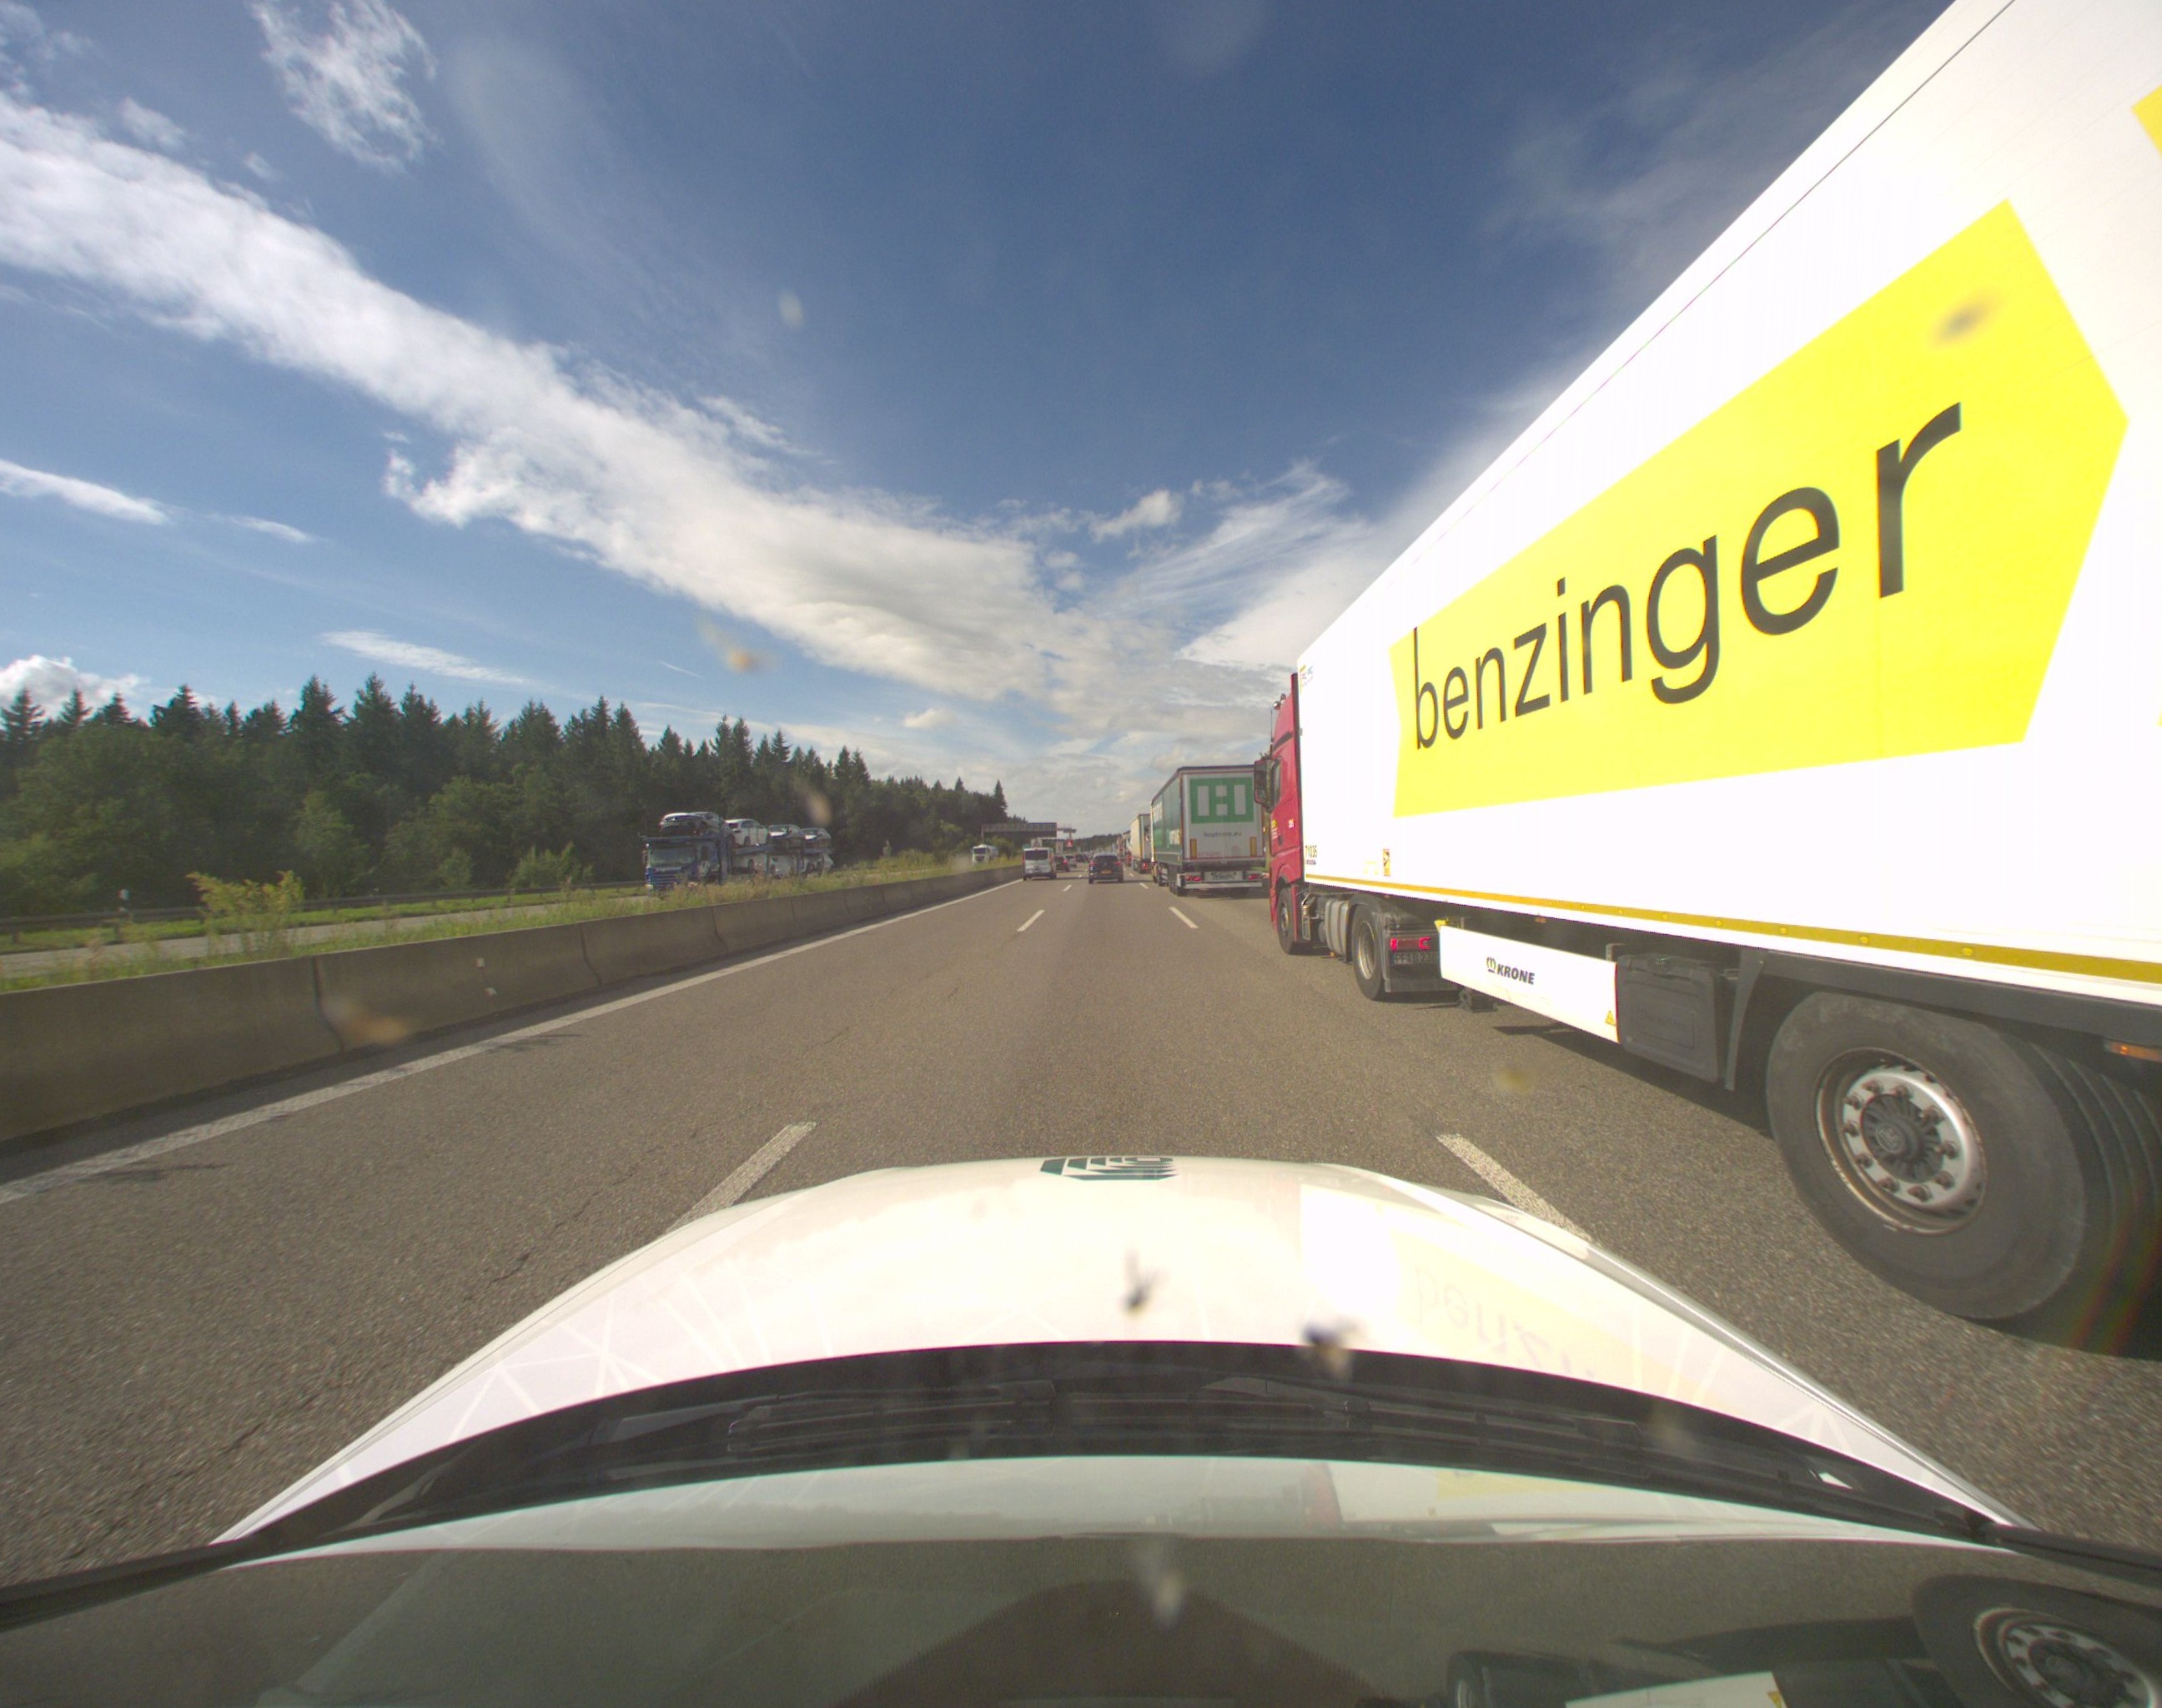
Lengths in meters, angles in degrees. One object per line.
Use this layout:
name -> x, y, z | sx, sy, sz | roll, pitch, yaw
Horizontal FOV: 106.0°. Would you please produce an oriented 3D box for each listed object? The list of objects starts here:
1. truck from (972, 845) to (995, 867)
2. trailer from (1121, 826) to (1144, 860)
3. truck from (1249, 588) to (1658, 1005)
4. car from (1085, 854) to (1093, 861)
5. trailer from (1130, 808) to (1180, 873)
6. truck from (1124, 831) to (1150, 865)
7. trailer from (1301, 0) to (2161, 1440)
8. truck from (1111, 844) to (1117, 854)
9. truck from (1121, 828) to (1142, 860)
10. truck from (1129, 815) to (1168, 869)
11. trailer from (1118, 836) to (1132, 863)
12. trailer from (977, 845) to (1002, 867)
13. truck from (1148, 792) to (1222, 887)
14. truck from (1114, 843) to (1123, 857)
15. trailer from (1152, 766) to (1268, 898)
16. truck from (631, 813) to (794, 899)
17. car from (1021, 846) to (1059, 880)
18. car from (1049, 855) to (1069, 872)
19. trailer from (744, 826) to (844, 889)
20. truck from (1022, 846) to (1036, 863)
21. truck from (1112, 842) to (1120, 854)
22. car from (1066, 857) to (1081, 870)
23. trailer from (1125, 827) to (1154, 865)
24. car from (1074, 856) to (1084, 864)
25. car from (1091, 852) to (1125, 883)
truck -> -15.178, 0.327, 127.058 | 2.308, 3.273, 6.110 | -2, 0, 3
trailer -> 6.940, -1.412, 110.499 | 2.791, 4.244, 11.063 | -2, 0, 2
truck -> 4.144, -0.537, 10.681 | 2.791, 3.939, 5.827 | -1, 0, 2
car -> 1.471, 0.690, 149.558 | 1.429, 1.310, 3.534 | 1, 0, 1
trailer -> 5.157, -0.878, 58.953 | 2.693, 4.081, 12.950 | -2, 0, 2
truck -> 6.214, -0.683, 91.287 | 2.524, 3.584, 6.732 | -2, 0, 2
trailer -> 3.914, -0.629, 3.469 | 2.781, 3.939, 13.075 | -1, 0, 2
truck -> 10.371, -1.546, 254.607 | 1.986, 3.052, 4.984 | 1, 0, 2
truck -> 7.144, -1.396, 115.575 | 2.775, 4.247, 6.464 | -2, 0, 3
truck -> 5.376, -0.888, 65.657 | 2.698, 4.059, 6.364 | -2, 0, 2
trailer -> 7.224, -0.700, 134.013 | 2.141, 4.259, 8.445 | -2, 0, 2
trailer -> -14.870, 0.323, 133.070 | 2.312, 3.284, 10.882 | -2, 0, 3
truck -> 4.622, -0.599, 37.509 | 2.637, 3.869, 6.999 | -2, 0, 2
truck -> 8.410, -0.921, 182.935 | 1.986, 2.932, 4.984 | 1, 0, 2
trailer -> 4.421, -0.634, 31.007 | 2.651, 3.869, 13.400 | -2, 0, 2
truck -> -17.976, 0.112, 40.953 | 2.821, 3.689, 11.135 | -2, 0, 1
car -> -2.516, 0.528, 51.331 | 1.925, 1.979, 5.100 | 1, 0, 2
car -> -1.892, 0.817, 70.392 | 1.494, 1.396, 3.477 | -2, 0, 2
trailer -> -17.726, 0.211, 51.051 | 2.788, 3.528, 8.956 | -2, 0, 1
truck -> -13.377, 0.224, 210.126 | 2.702, 4.244, 10.345 | -2, 0, 1
truck -> 9.080, -1.470, 210.277 | 1.986, 3.052, 4.984 | 1, 0, 2
car -> -0.831, 1.001, 90.196 | 1.494, 1.396, 3.477 | 1, 0, 2
trailer -> 6.021, -0.780, 85.461 | 2.531, 3.654, 10.631 | -2, 0, 2
car -> -0.333, 0.924, 130.297 | 1.429, 1.310, 3.534 | 1, 0, 1
car -> 1.404, 0.681, 42.637 | 1.690, 1.483, 4.161 | -1, 0, 2
